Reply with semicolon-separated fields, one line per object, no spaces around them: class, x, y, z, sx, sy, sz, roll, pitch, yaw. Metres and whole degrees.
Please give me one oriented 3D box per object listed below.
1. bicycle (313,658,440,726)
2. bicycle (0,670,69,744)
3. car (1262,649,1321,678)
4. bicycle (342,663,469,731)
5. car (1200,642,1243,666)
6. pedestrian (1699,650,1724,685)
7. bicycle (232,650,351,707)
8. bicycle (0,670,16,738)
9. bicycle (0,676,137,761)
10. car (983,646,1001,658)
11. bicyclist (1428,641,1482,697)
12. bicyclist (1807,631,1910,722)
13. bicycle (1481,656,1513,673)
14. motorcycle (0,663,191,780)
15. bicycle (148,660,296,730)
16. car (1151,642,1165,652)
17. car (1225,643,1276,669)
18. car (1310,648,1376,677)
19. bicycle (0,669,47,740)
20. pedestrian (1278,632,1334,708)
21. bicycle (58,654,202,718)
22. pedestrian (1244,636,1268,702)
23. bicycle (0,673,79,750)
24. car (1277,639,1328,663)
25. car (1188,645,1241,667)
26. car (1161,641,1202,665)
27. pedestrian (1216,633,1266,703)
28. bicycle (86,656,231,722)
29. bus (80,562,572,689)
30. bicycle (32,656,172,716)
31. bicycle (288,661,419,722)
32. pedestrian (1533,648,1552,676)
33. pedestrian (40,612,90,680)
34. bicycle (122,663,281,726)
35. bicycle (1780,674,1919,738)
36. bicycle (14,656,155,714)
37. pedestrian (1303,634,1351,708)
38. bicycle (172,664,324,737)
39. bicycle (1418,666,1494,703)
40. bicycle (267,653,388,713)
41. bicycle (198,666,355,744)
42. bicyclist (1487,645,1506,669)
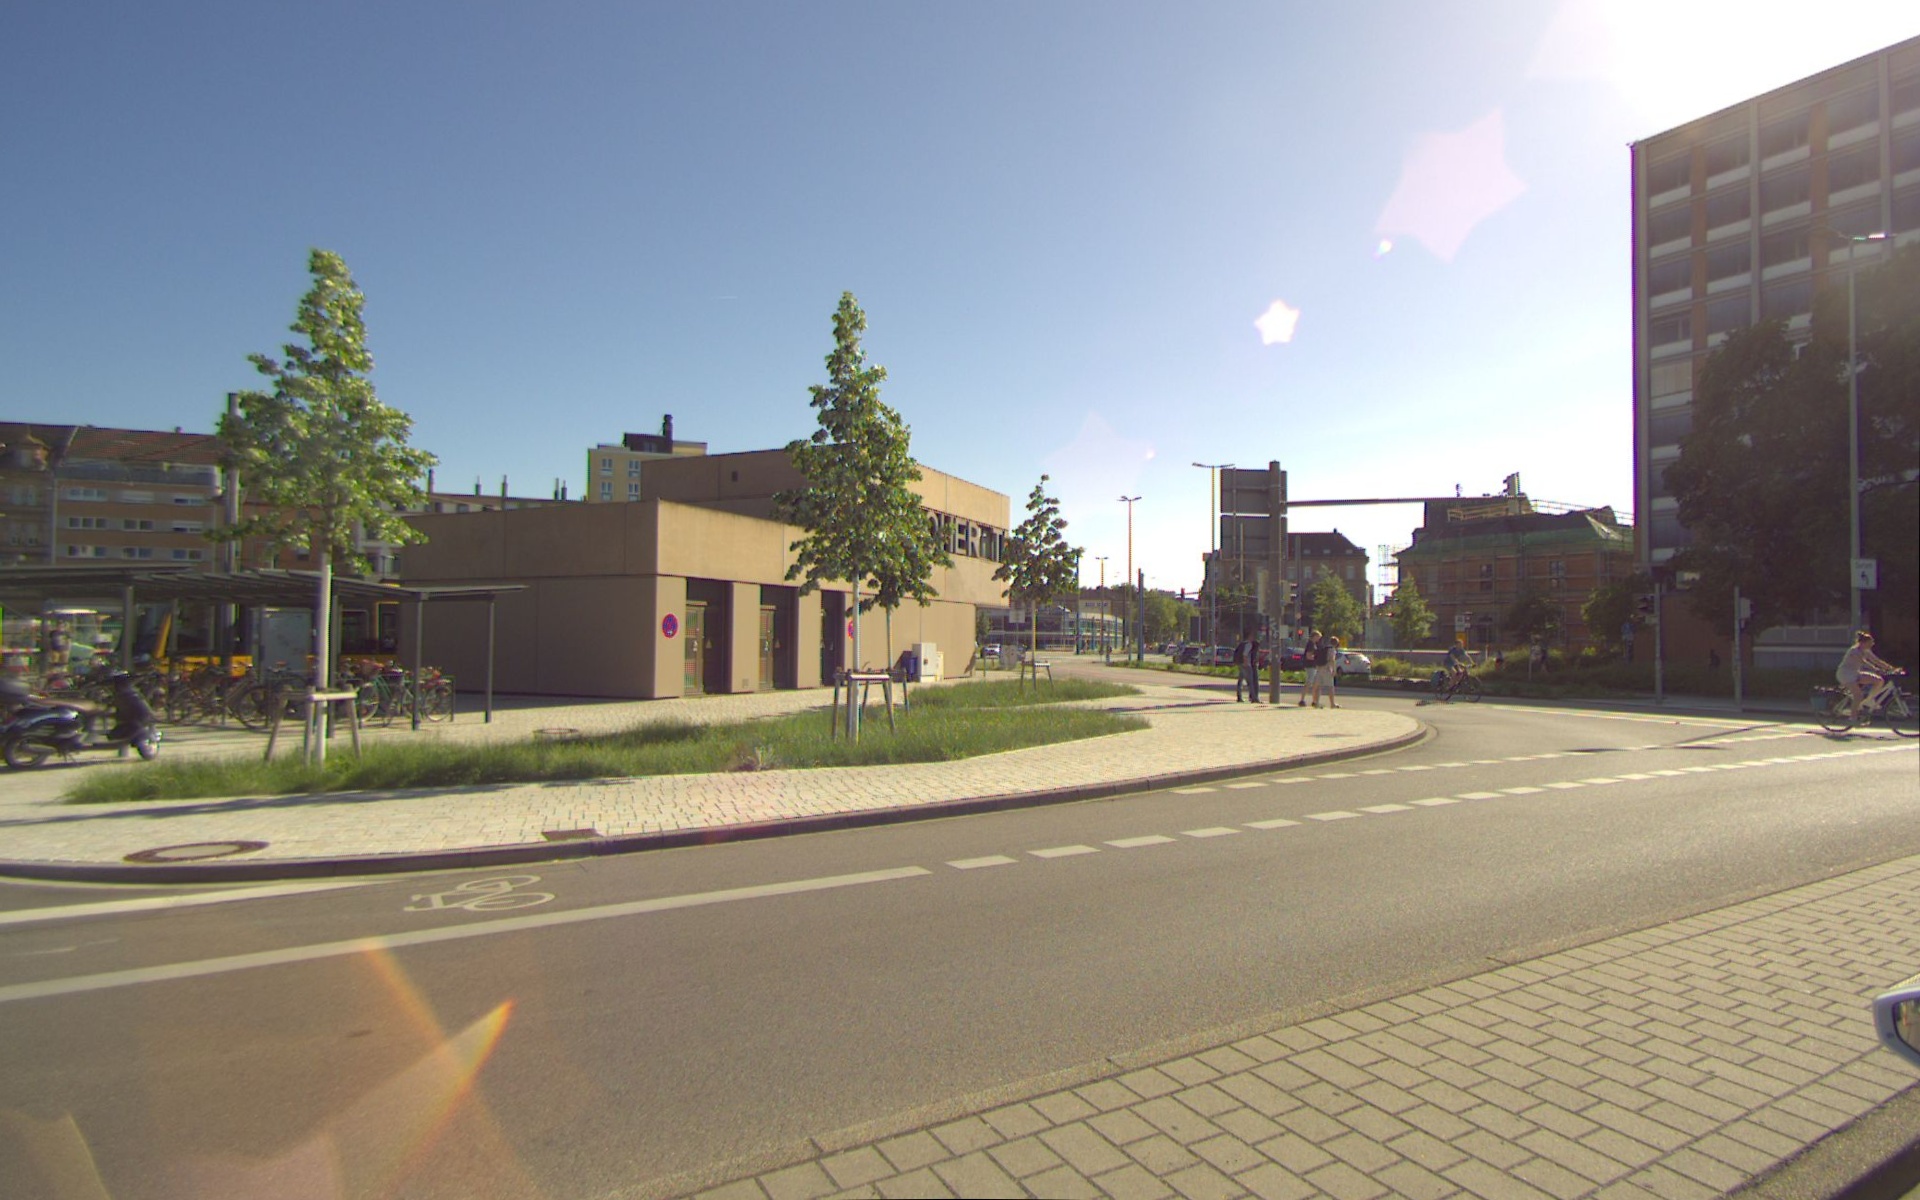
bicycle;-10.803;1.684;18.694;0.594;1.093;2.053;2;0;25
bicycle;-13.701;1.532;14.169;0.399;0.985;1.683;2;0;22
car;20.693;3.957;62.890;1.810;1.653;4.382;1;-2;-8
bicycle;-9.973;1.721;18.157;0.524;1.051;2.070;2;0;26
car;19.610;4.033;75.502;1.809;1.653;4.386;1;-2;-4
pedestrian;35.401;3.194;47.334;0.589;1.624;0.737;1;-2;-17
bicycle;-13.923;1.616;20.988;0.524;1.051;2.070;2;0;26
bicycle;-14.723;1.542;14.420;0.399;0.985;1.683;2;0;22
bicycle;-12.208;1.574;13.573;0.399;0.985;1.683;2;0;22
car;4.047;6.528;126.292;1.757;1.540;4.003;0;-2;11
bicyclist;13.180;1.840;26.767;0.676;1.440;1.125;1;-4;-15
bicyclist;15.524;1.313;17.382;0.730;1.519;1.068;1;-4;-19
bicycle;32.430;3.892;60.709;0.587;0.976;2.081;1;-2;-8
motorcycle;-10.854;1.448;12.471;0.558;1.235;2.087;0;-1;21
bicycle;-12.904;1.630;17.652;0.524;1.051;2.070;2;0;26
car;31.873;7.551;161.846;1.807;1.653;4.390;0;-2;6
car;20.031;3.839;69.430;1.810;1.653;4.382;1;-2;-8
car;21.268;3.470;55.931;1.711;1.454;3.843;1;-2;-10
bicycle;-14.205;1.526;14.370;0.399;0.985;1.683;2;0;22
pedestrian;8.542;1.737;24.823;1.083;1.822;0.704;2;-4;-8
bicycle;-15.908;1.624;19.315;0.524;1.051;2.070;5;1;26
pedestrian;7.967;1.850;27.036;0.585;1.751;0.580;0;-2;14
bicycle;-13.235;1.544;13.808;0.399;0.985;1.683;2;0;22
car;25.904;3.850;76.153;1.809;1.653;4.836;1;-2;-6
car;17.261;3.763;68.322;1.810;1.406;4.895;1;-2;-8
car;16.513;3.937;75.121;1.809;1.653;4.386;1;-2;-4
pedestrian;7.130;1.733;25.489;0.831;1.711;0.896;5;-5;-34
bicycle;-15.022;1.641;18.900;0.524;1.051;2.070;5;1;26
bus;-18.434;0.872;31.363;2.810;3.112;13.620;0;-2;25
bicycle;-16.889;1.678;19.844;0.524;1.051;2.070;-2;-2;26
bicycle;-11.768;1.750;19.567;0.679;1.011;2.140;2;0;26
pedestrian;33.904;3.613;58.502;0.549;1.592;0.862;1;-2;-8
pedestrian;-26.179;1.343;29.380;0.755;1.942;0.803;0;-2;23
bicycle;-13.714;1.678;18.256;0.673;0.956;2.233;2;0;25
bicycle;15.511;1.798;17.354;0.730;1.008;1.983;1;-4;-19
bicycle;-17.777;1.698;20.452;0.524;1.051;2.070;5;0;26
pedestrian;8.795;1.705;24.083;0.775;1.711;0.793;2;-5;-11
bicycle;-11.939;1.656;16.918;0.524;1.051;2.070;2;0;26
bicycle;13.177;2.227;26.744;0.676;0.930;1.985;1;-4;-15
bicycle;-12.748;1.648;20.323;0.524;1.051;2.070;2;0;26
bicycle;-10.908;1.650;16.129;0.524;1.051;2.070;2;0;26
bicyclist;32.438;3.449;60.717;0.587;1.448;0.938;1;-2;-9
